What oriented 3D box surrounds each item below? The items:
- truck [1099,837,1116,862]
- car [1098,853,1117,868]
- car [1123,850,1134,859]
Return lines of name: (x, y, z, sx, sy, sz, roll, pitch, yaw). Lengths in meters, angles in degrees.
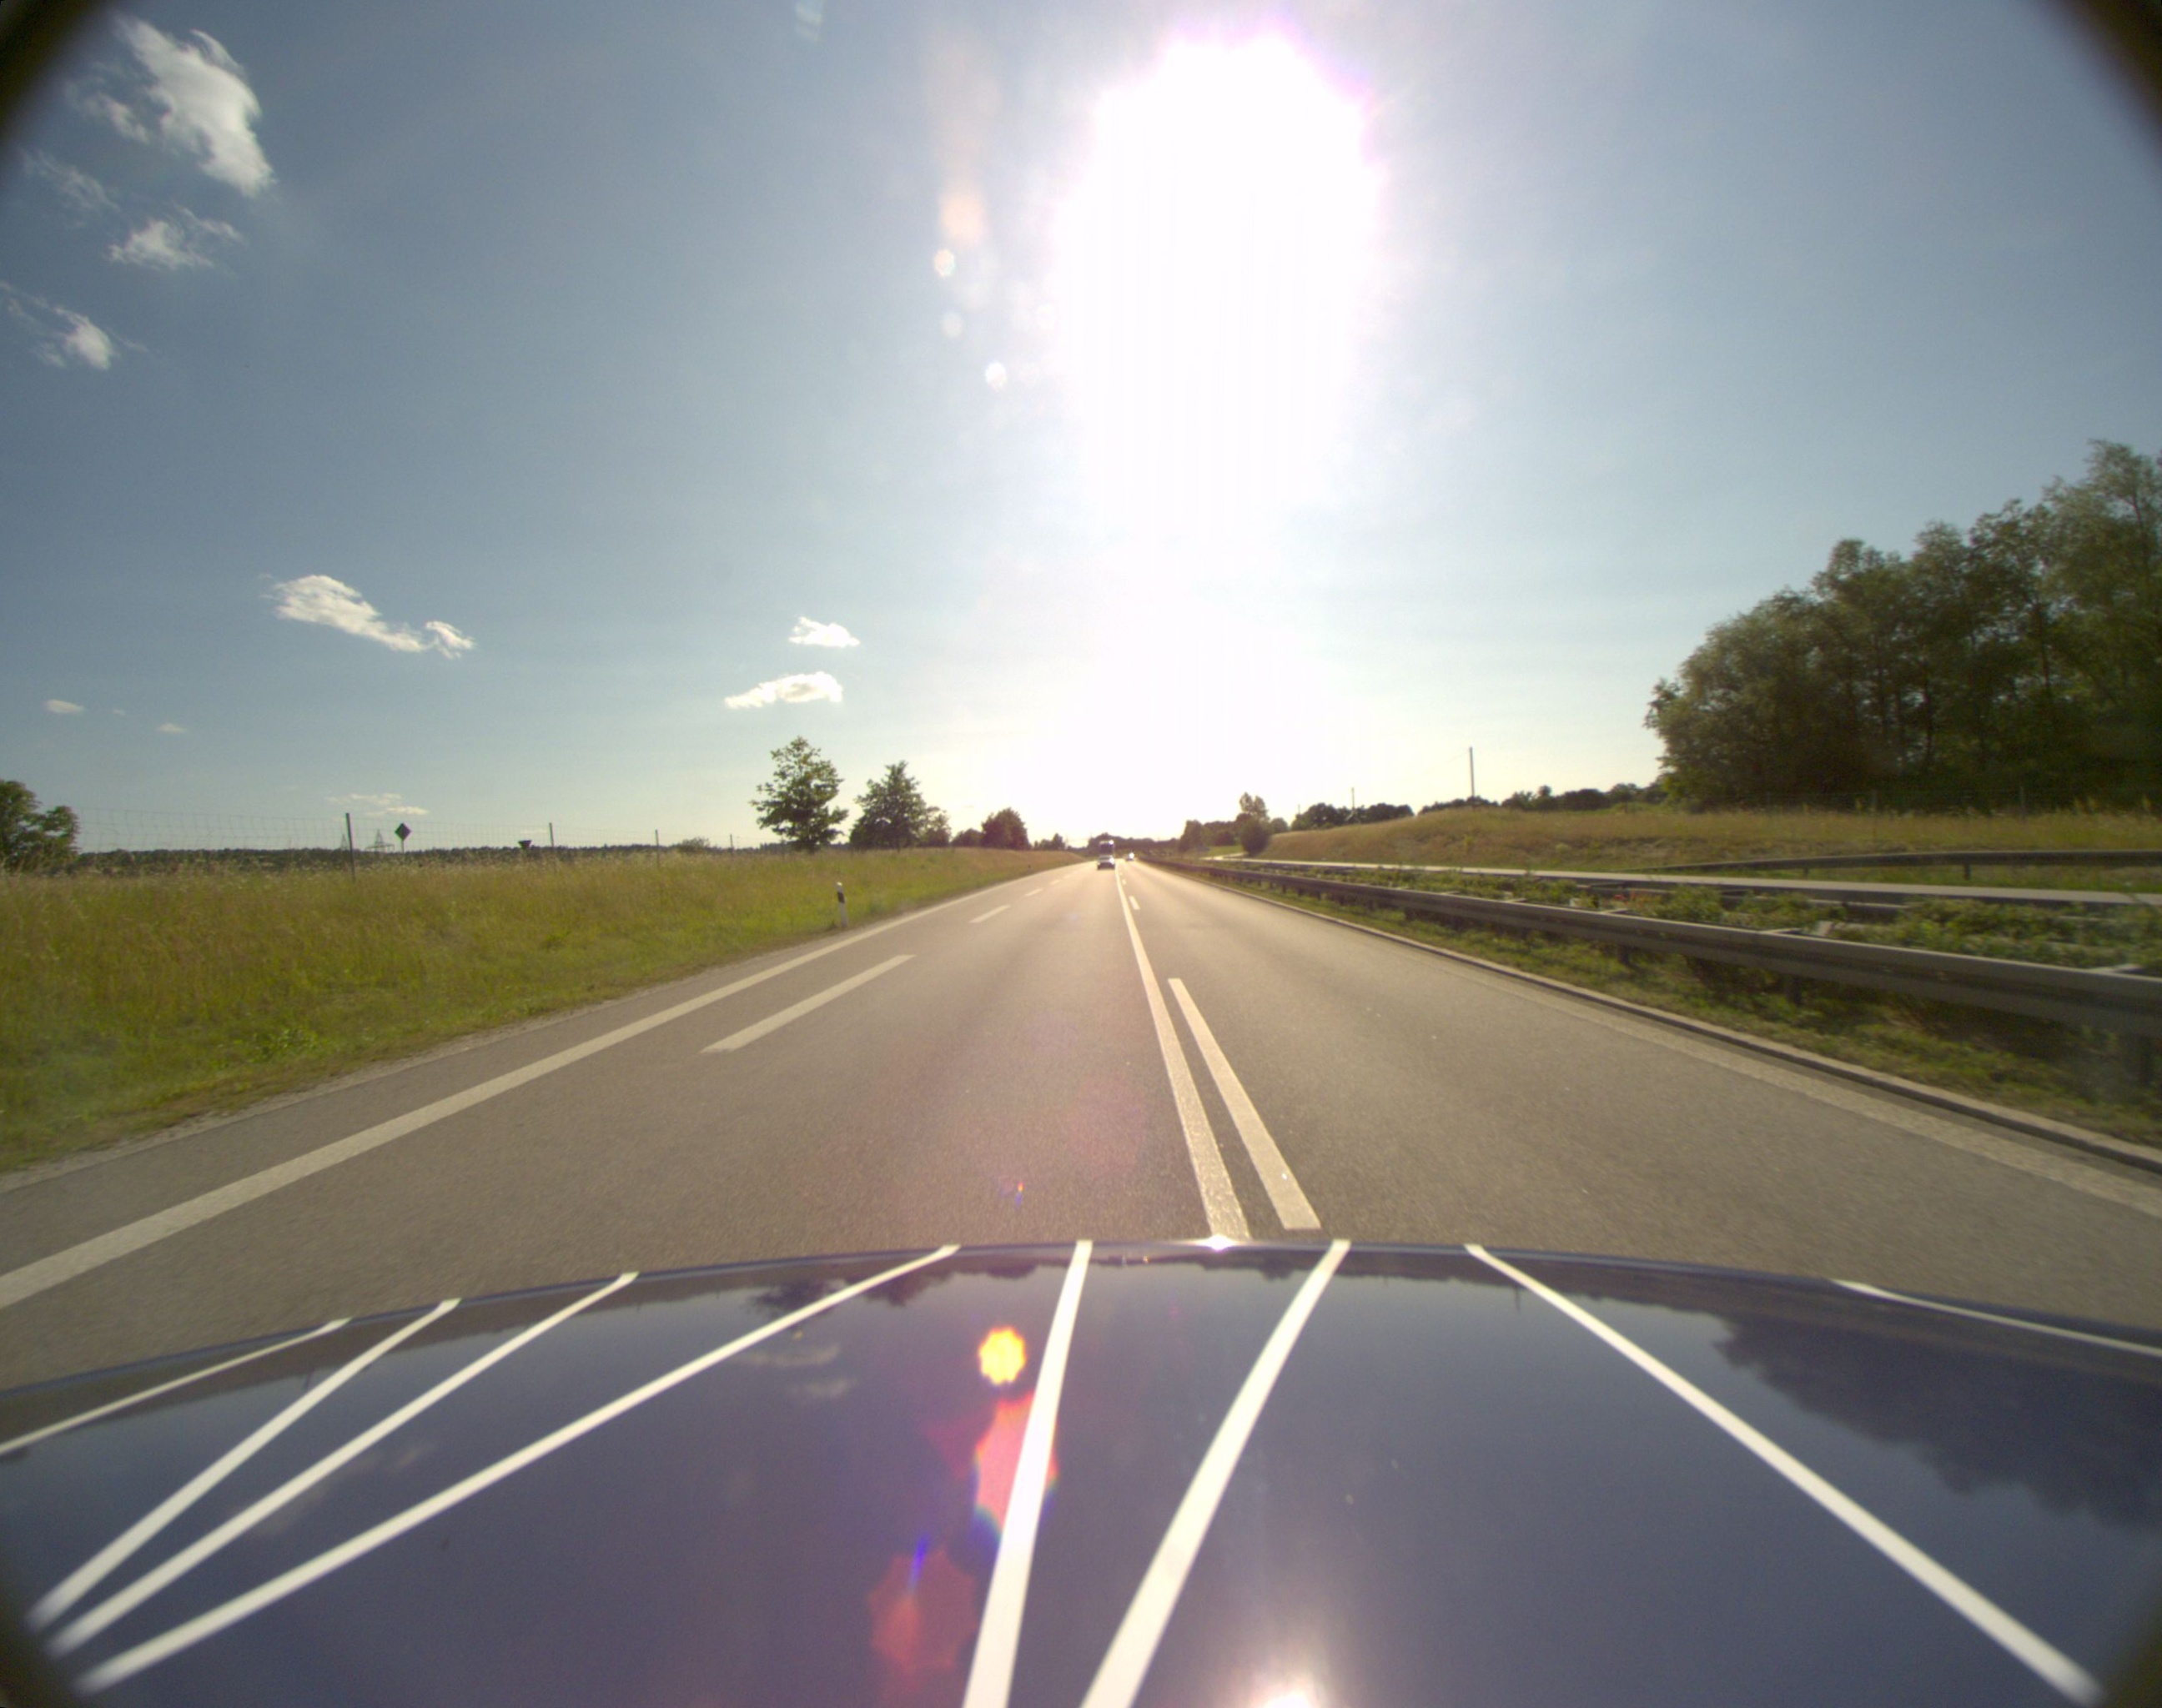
truck: (4.900, -0.799, 138.337, 2.536, 4.228, 11.266, -2, 1, 3)
car: (2.714, 0.645, 78.126, 1.870, 1.514, 4.284, -1, 0, 2)
car: (9.968, 0.109, 158.982, 1.999, 1.652, 4.000, -1, 0, 0)
